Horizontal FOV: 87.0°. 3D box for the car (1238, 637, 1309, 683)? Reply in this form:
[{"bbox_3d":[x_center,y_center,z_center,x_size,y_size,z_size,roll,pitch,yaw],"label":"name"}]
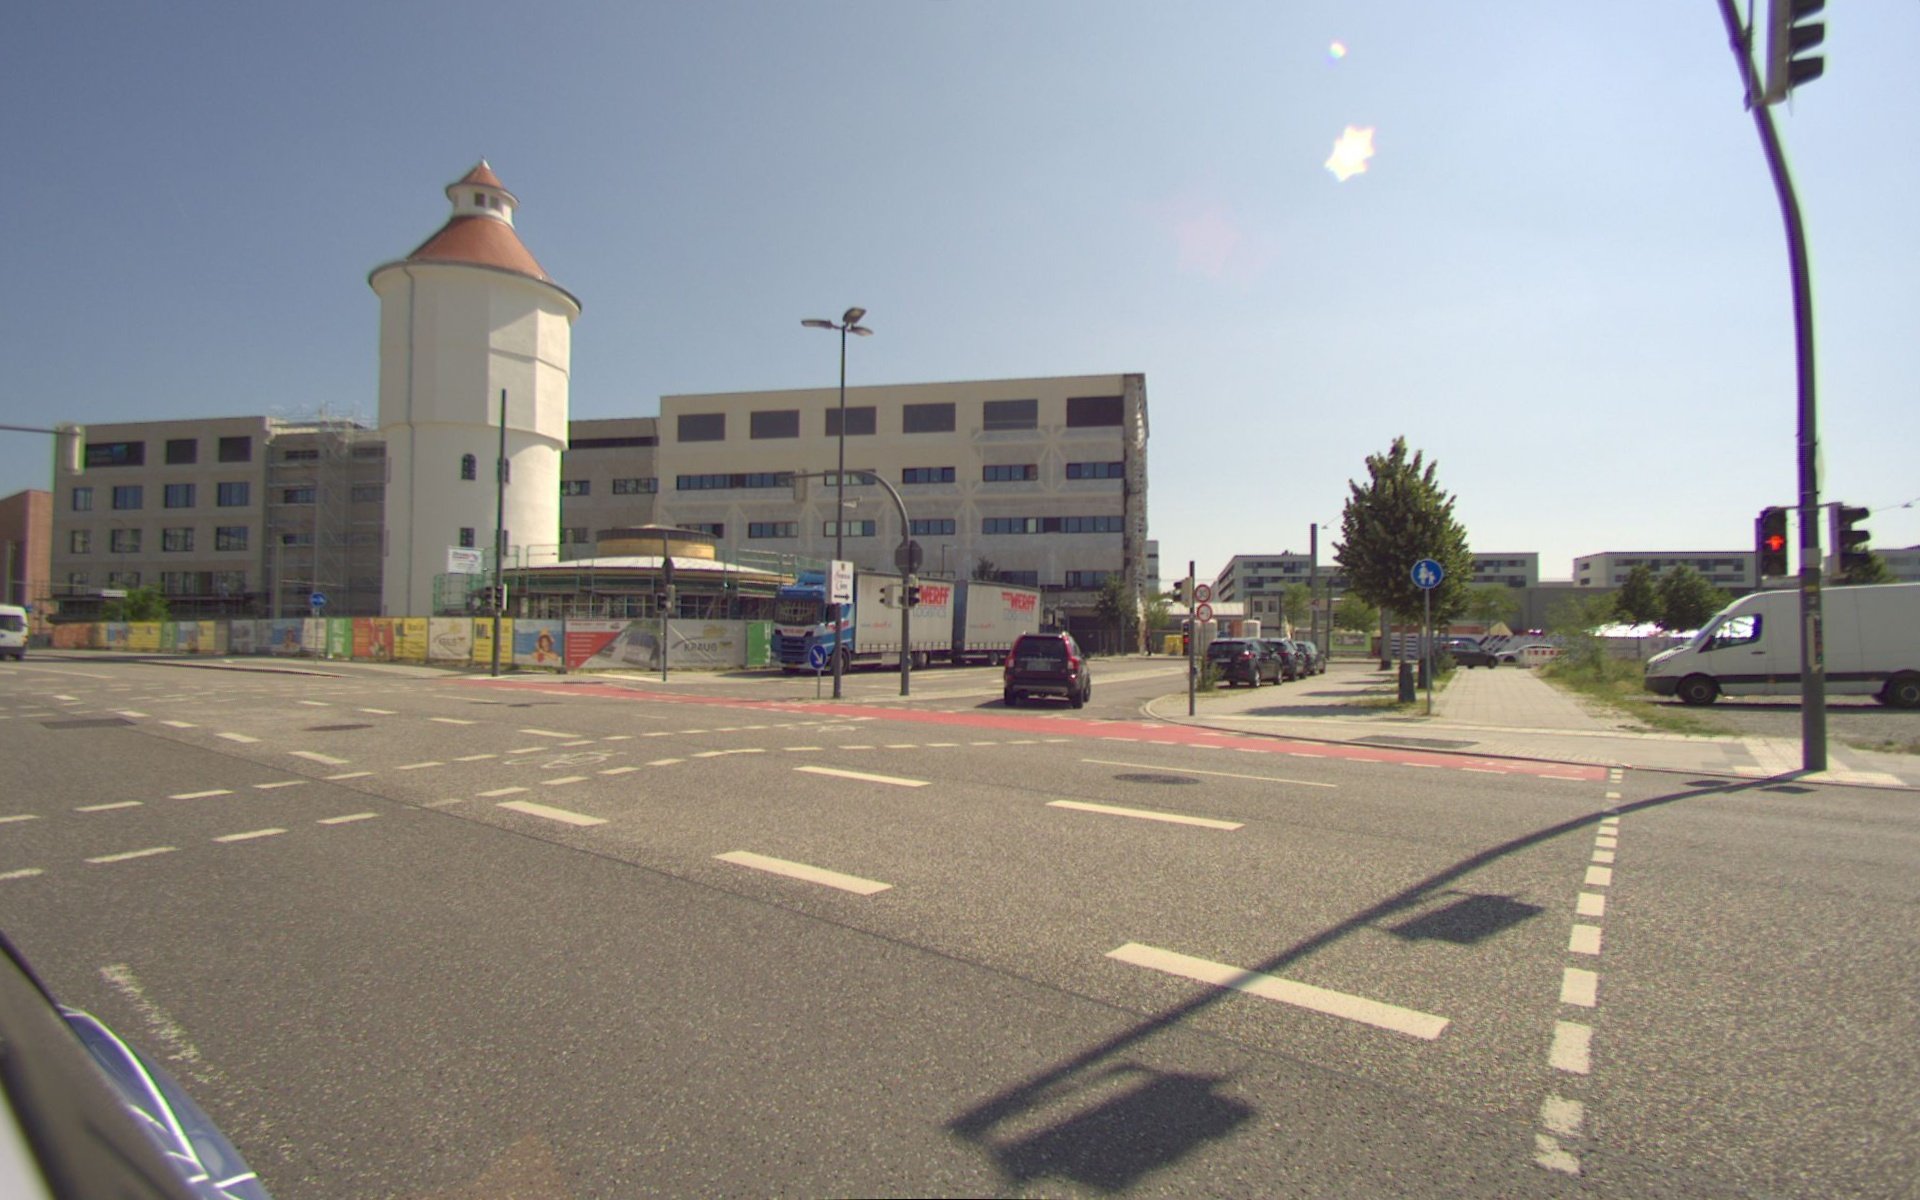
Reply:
[{"bbox_3d":[12.233,2.288,39.307,1.873,1.652,3.960,0,-2,29],"label":"car"}]

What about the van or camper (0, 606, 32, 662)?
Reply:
[{"bbox_3d":[-44.230,1.484,45.808,5.672,2.432,2.133,-1,-4,37],"label":"van or camper"}]

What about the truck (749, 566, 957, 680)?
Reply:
[{"bbox_3d":[-4.022,0.894,42.106,3.285,4.098,10.881,0,-1,27],"label":"truck"}]

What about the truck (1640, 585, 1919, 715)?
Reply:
[{"bbox_3d":[18.868,1.099,22.636,5.927,2.675,2.149,-1,-3,33],"label":"truck"}]

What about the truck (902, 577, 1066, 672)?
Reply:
[{"bbox_3d":[1.536,1.186,51.609,3.334,4.308,10.830,-1,-1,32],"label":"truck"}]

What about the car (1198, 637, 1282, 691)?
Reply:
[{"bbox_3d":[9.487,2.096,34.127,1.873,1.652,3.960,0,-2,29],"label":"car"}]
